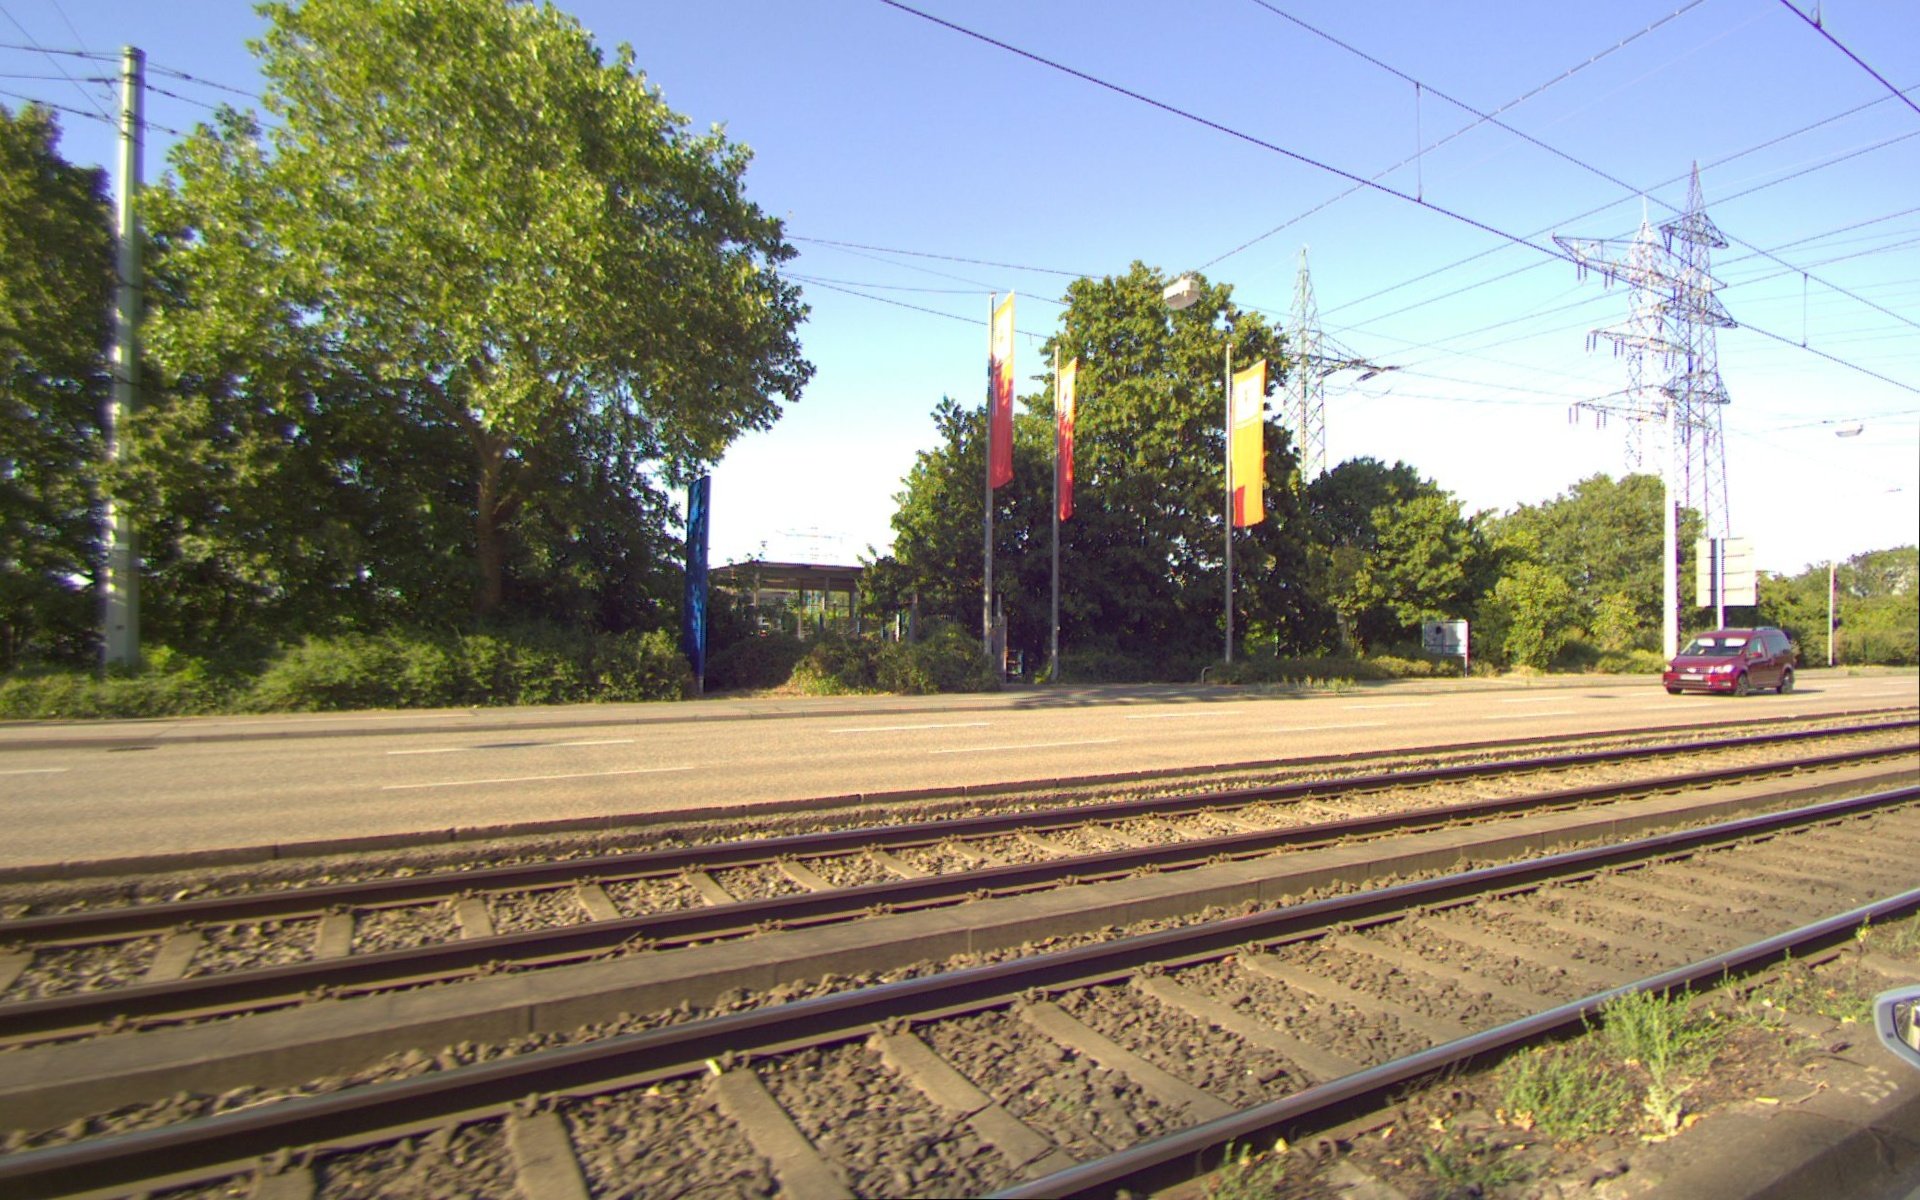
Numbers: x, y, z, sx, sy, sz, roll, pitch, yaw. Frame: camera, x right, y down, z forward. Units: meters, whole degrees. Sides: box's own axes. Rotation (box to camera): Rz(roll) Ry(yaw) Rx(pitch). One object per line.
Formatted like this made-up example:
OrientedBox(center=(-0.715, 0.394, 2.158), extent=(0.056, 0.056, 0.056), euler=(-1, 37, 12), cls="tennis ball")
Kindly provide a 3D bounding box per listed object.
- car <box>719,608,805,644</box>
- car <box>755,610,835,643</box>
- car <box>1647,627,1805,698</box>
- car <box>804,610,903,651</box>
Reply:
OrientedBox(center=(-9.905, 1.317, 50.251), extent=(3.850, 1.706, 1.778), euler=(2, 0, -30), cls="car")
OrientedBox(center=(-9.203, 1.465, 56.043), extent=(3.953, 1.706, 1.885), euler=(2, 0, -30), cls="car")
OrientedBox(center=(21.291, 1.719, 27.904), extent=(4.299, 1.819, 1.984), euler=(2, -3, -30), cls="car")
OrientedBox(center=(-4.800, 1.367, 45.307), extent=(3.953, 1.706, 1.984), euler=(2, 0, -30), cls="car")
